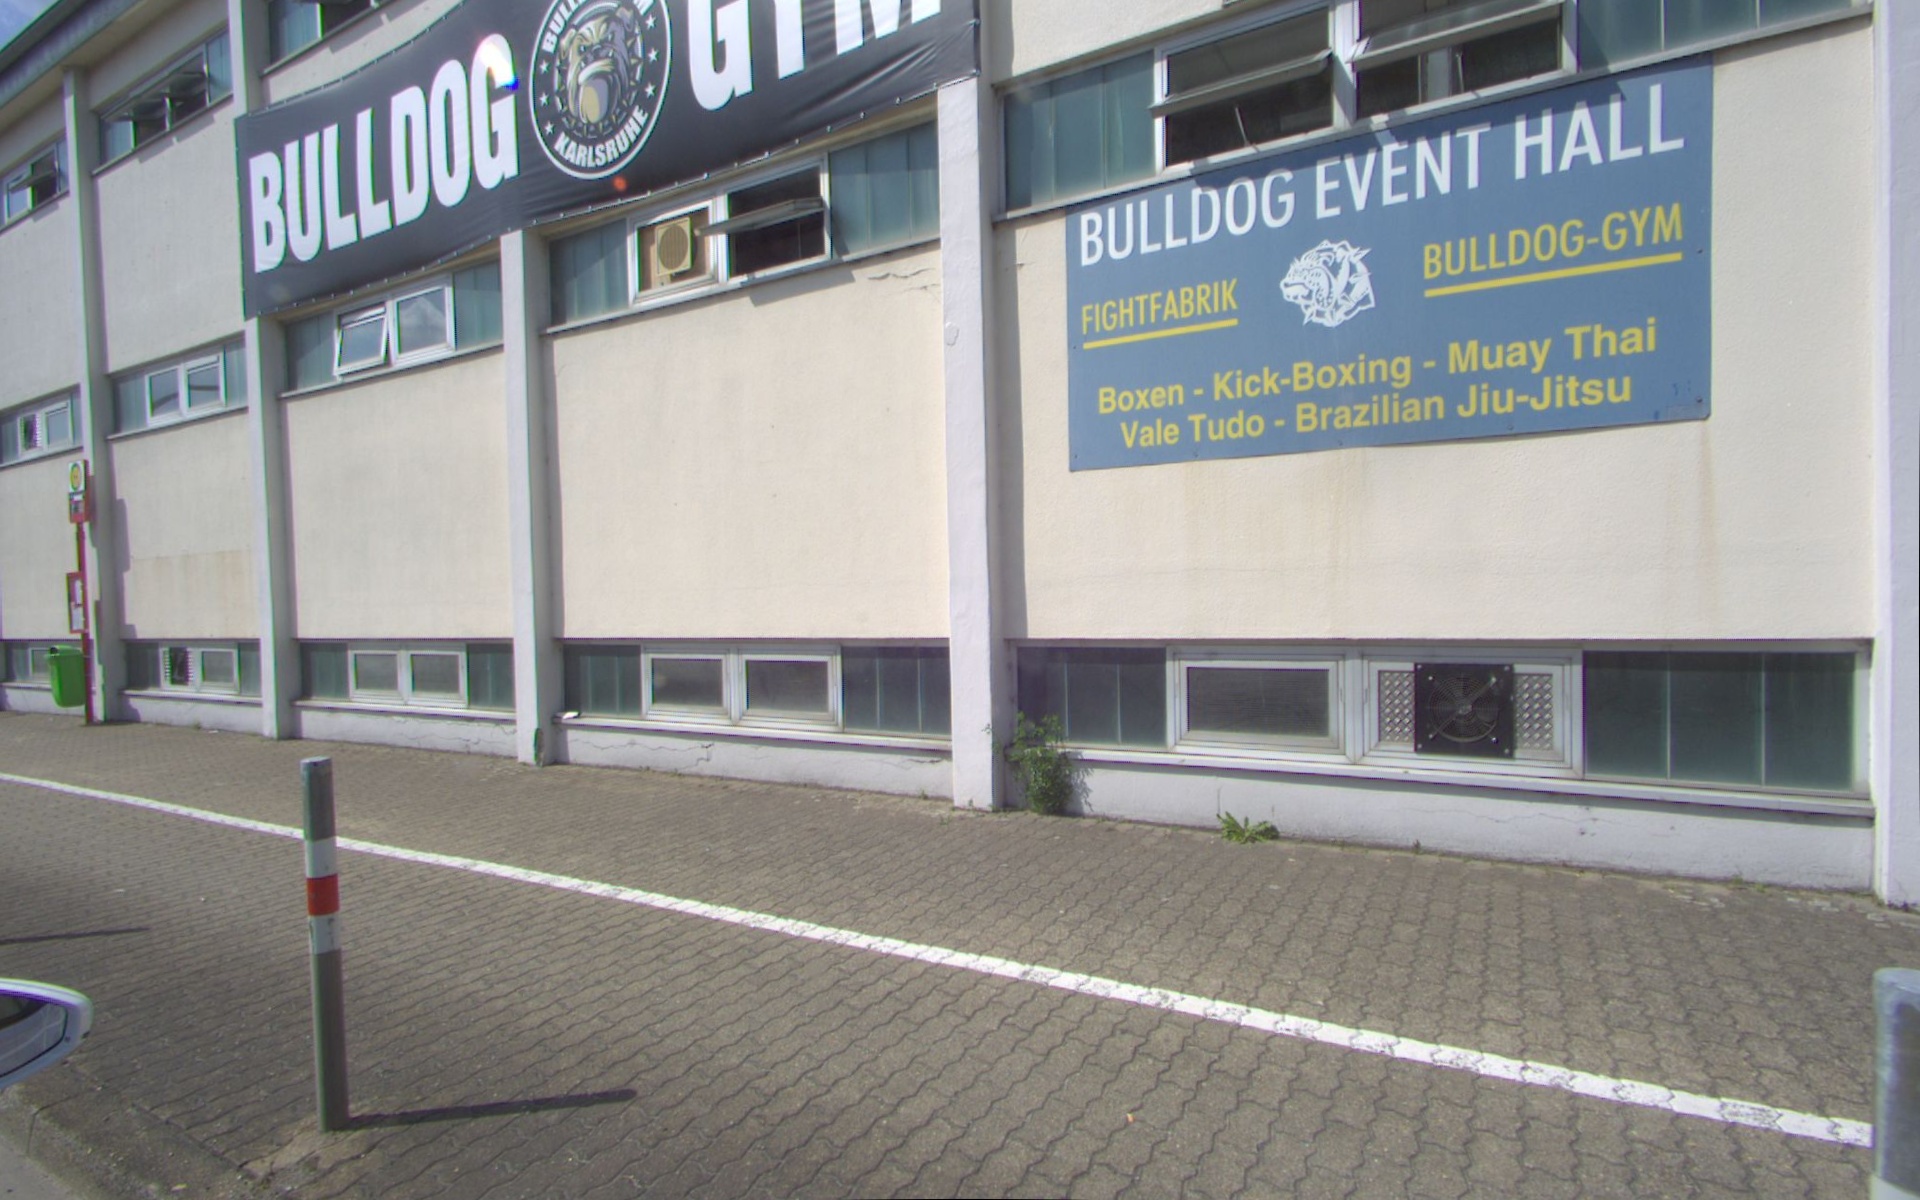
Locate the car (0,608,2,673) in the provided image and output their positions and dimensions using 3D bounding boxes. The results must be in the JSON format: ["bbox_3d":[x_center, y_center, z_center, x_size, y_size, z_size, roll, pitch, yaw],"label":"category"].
[{"bbox_3d":[-24.331,0.959,22.330,4.225,1.518,1.634,-1,0,-43],"label":"car"}]
